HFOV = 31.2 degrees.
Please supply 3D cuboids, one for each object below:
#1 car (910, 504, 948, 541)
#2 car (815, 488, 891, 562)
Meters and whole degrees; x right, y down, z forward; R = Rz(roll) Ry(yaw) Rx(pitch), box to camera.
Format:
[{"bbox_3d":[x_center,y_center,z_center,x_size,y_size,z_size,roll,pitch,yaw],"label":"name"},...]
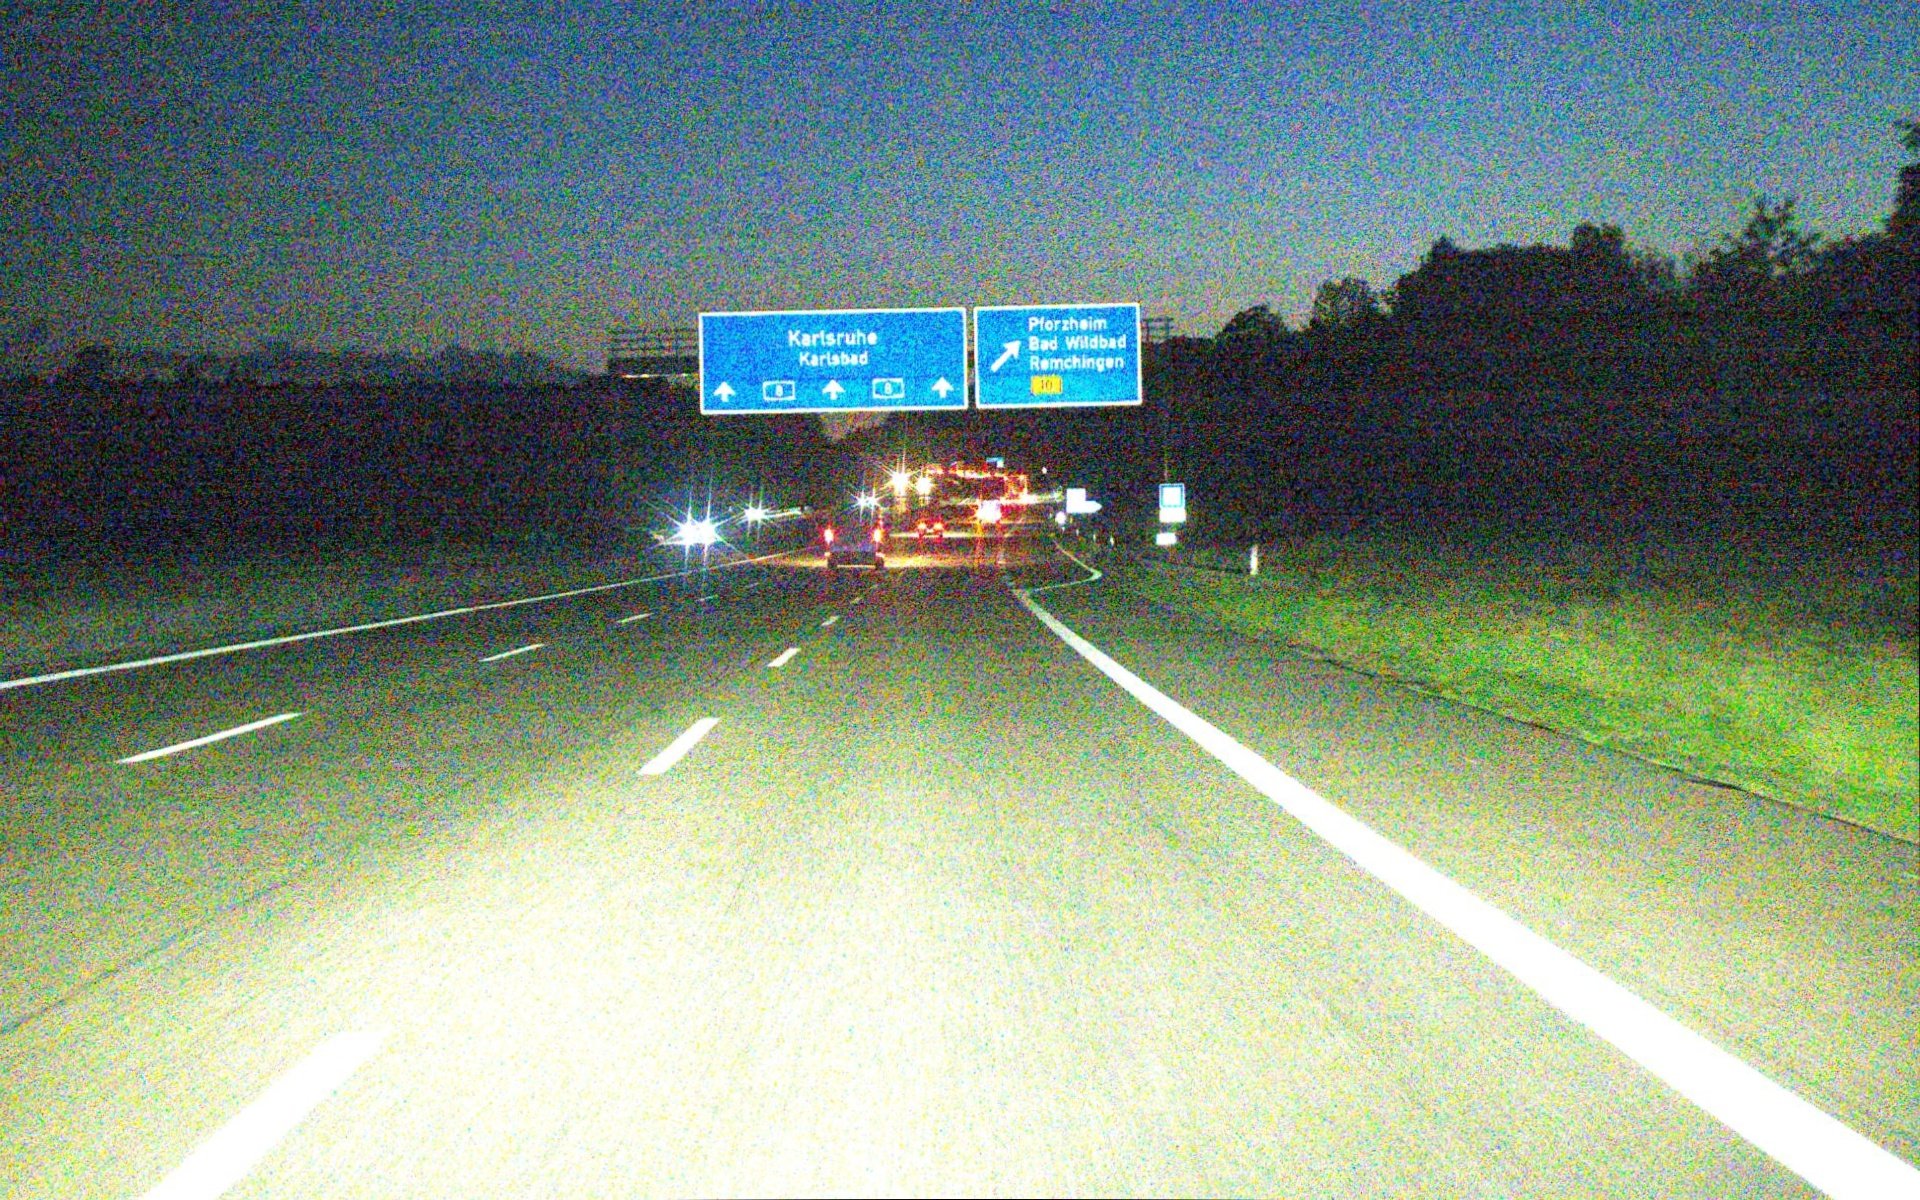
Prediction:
[{"bbox_3d":[-2.323,-5.863,259.832,2.786,2.724,6.299,0,0,0],"label":"car"},{"bbox_3d":[-4.058,-2.808,130.010,2.786,2.724,6.299,0,0,-2],"label":"car"}]
